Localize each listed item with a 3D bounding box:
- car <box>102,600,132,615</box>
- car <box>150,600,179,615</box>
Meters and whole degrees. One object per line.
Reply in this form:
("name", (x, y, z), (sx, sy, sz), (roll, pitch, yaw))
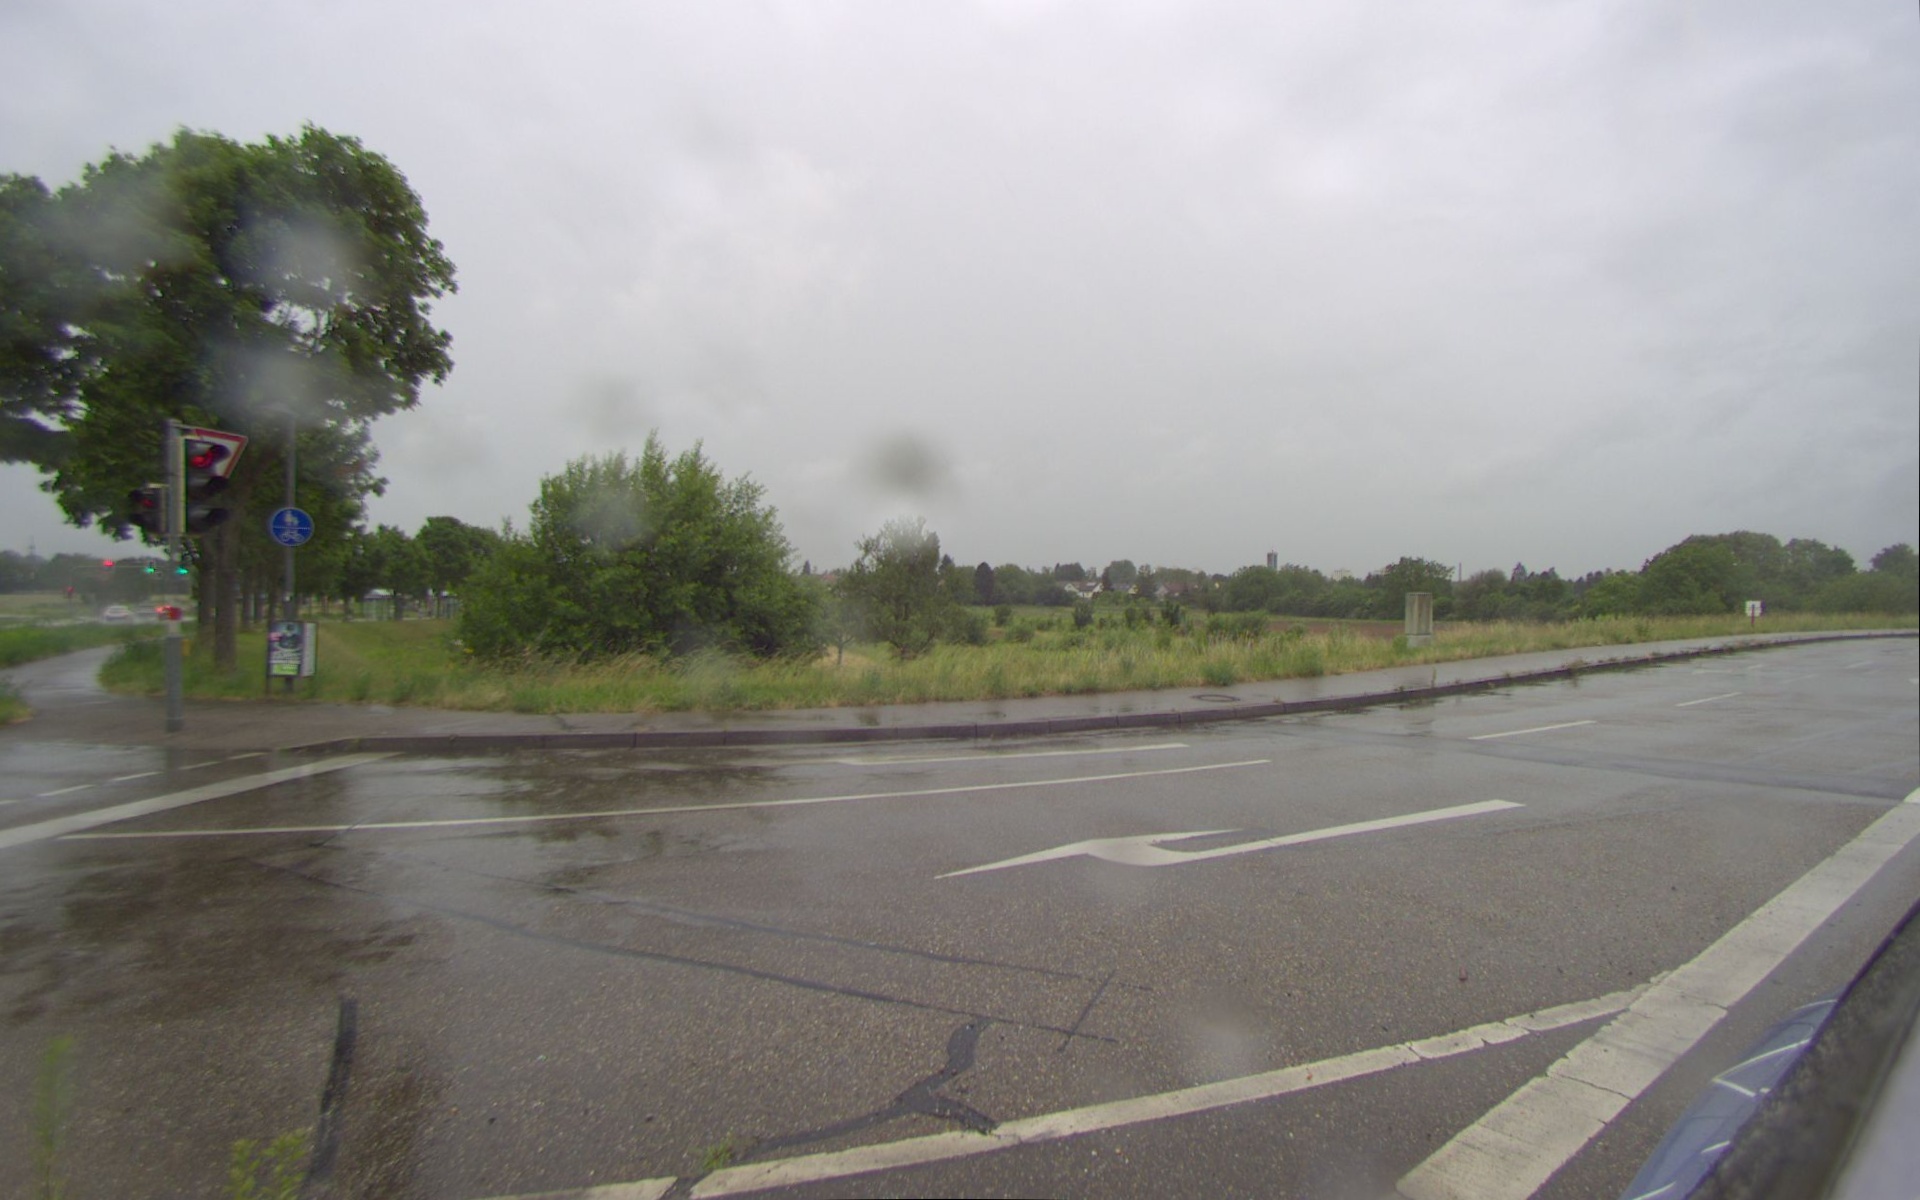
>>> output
("car", (-79.171, 0.683, 95.105), (1.844, 1.371, 4.051), (0, 1, -36))
("car", (-78.705, 0.757, 100.138), (1.843, 1.371, 4.055), (0, 1, -32))
